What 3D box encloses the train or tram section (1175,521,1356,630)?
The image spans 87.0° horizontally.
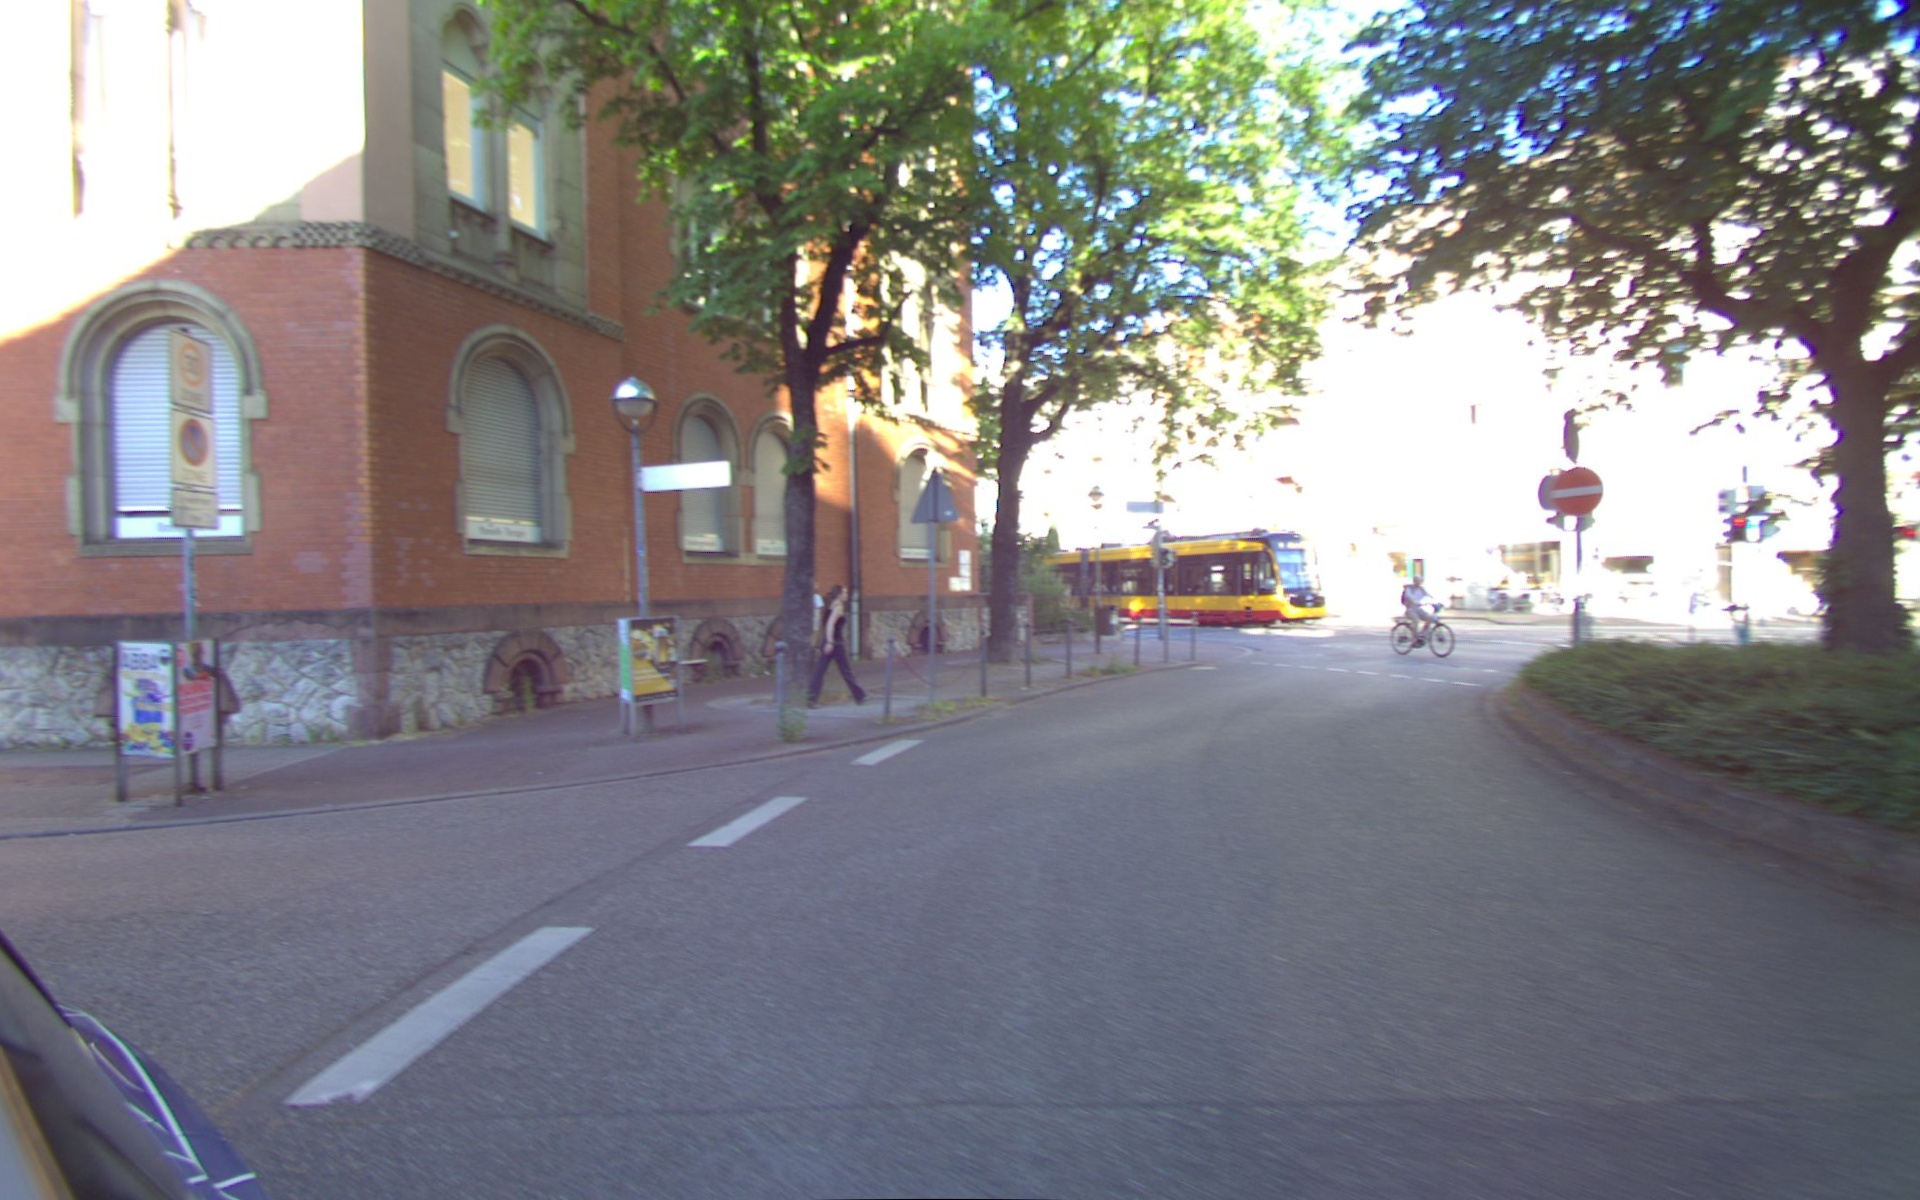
[{"bbox_3d":[11.110,-0.833,37.445,2.871,3.668,6.368,-2,0,-24],"label":"train or tram section"}]

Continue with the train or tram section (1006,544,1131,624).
[{"bbox_3d":[5.256,-0.758,50.665,2.883,3.626,7.213,-2,1,-24],"label":"train or tram section"}]

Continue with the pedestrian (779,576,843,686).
[{"bbox_3d":[-2.361,0.468,16.002,0.846,1.655,0.872,-2,0,-17],"label":"pedestrian"}]

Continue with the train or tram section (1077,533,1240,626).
[{"bbox_3d":[8.329,-0.811,43.739,2.871,3.641,7.886,-2,0,-24],"label":"train or tram section"}]

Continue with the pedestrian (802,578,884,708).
[{"bbox_3d":[-1.512,0.532,13.155,0.601,1.617,0.844,-1,0,39],"label":"pedestrian"}]

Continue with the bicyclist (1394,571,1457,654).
[{"bbox_3d":[10.141,0.262,22.056,0.684,1.729,1.050,-2,0,-16],"label":"bicyclist"}]

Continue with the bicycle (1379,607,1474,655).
[{"bbox_3d":[10.111,0.653,22.024,0.757,0.965,1.988,-2,0,-16],"label":"bicycle"}]
